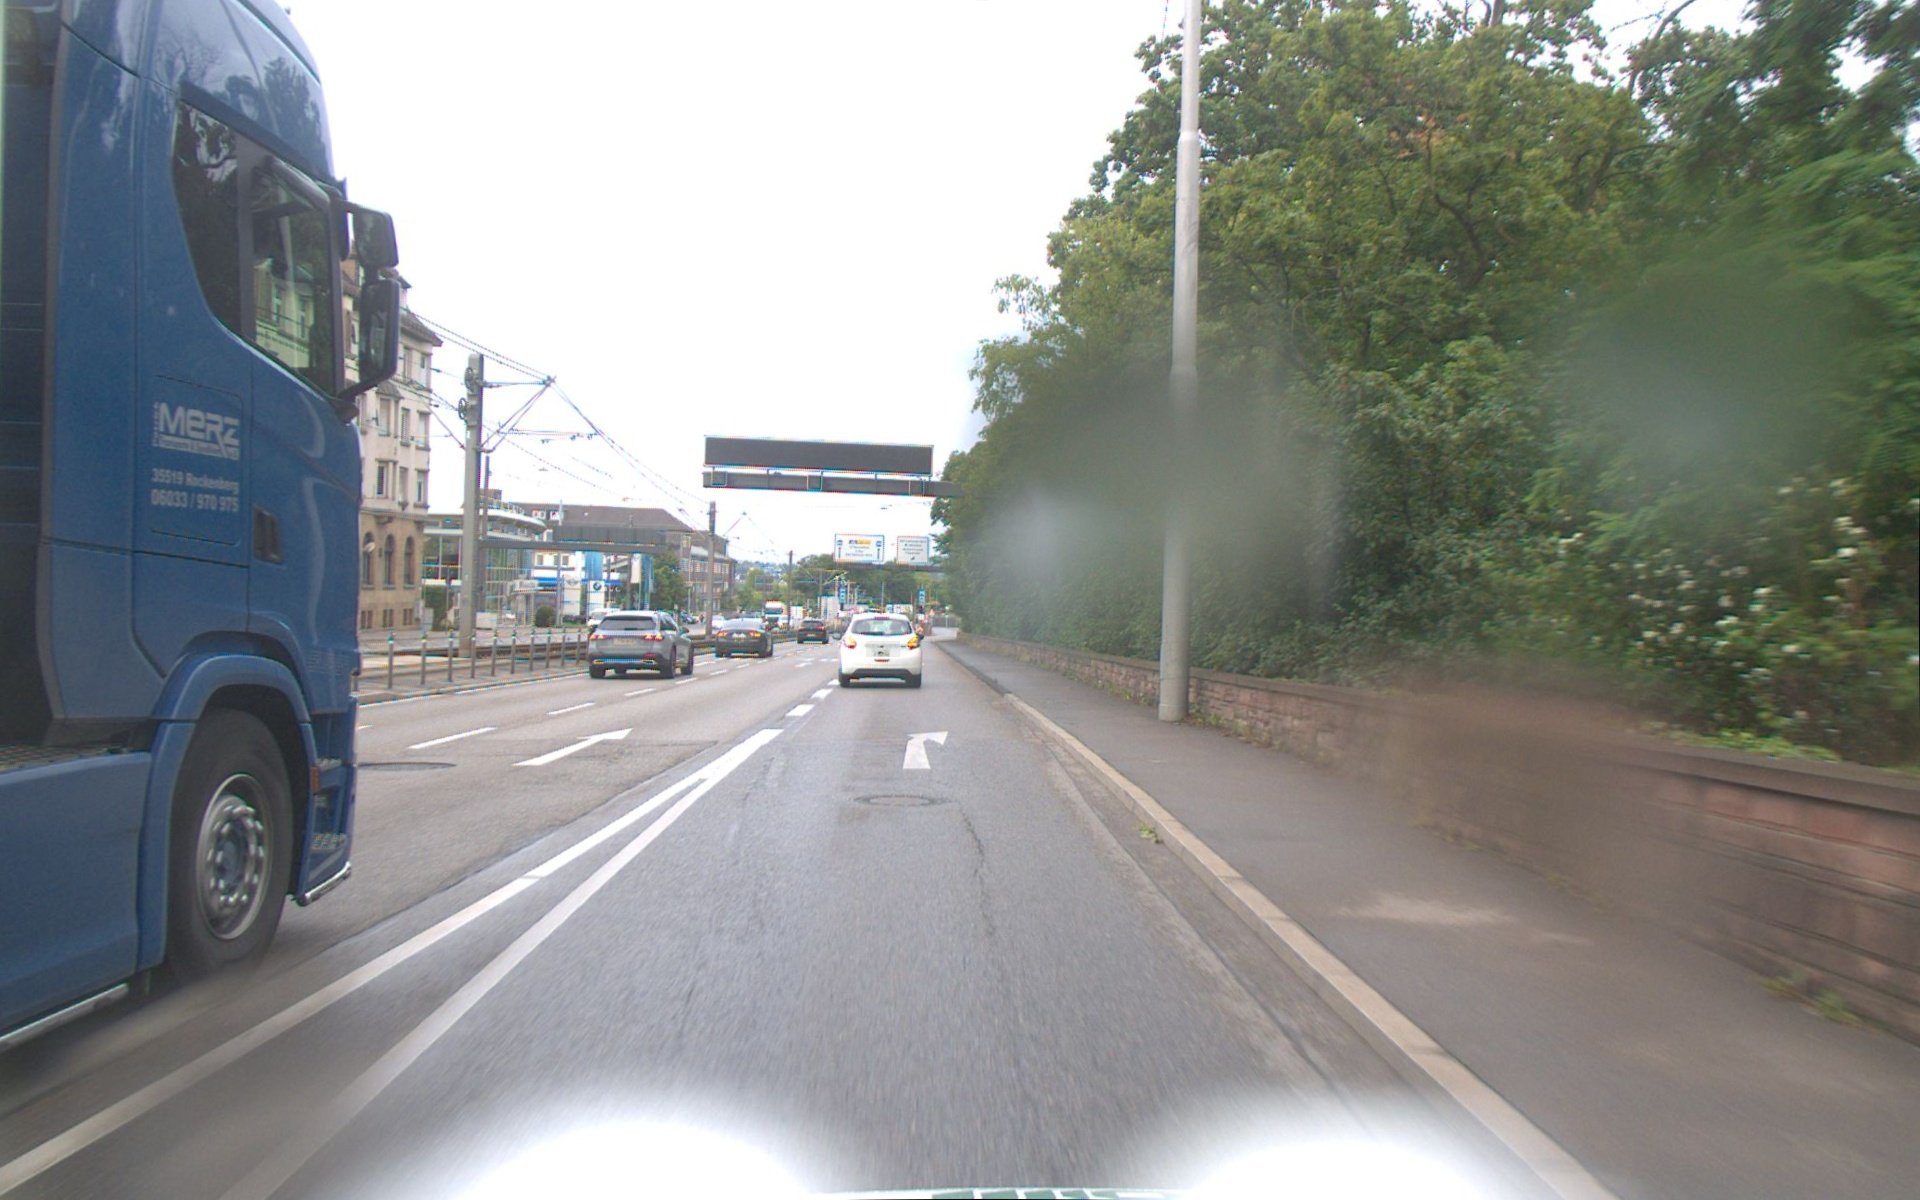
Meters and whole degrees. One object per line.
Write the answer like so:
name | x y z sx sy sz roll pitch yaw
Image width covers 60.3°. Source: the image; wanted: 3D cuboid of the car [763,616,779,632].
car | -28.677 3.679 250.972 1.953 2.049 3.997 2 -4 -2

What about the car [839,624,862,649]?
car | -10.226 3.436 154.694 1.953 2.049 3.997 2 -4 -2

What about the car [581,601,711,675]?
car | -7.105 0.864 37.835 1.782 1.593 4.094 -1 -1 6

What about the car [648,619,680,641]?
car | -24.038 2.440 134.545 1.953 1.691 3.998 2 -2 -2

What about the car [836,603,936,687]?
car | -1.513 0.889 34.673 1.916 1.514 3.999 2 1 -2

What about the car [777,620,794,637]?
car | -23.928 3.889 226.771 1.953 2.049 3.997 2 -4 -2

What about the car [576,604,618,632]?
car | -24.096 1.224 110.024 1.953 1.691 3.998 2 -2 -2

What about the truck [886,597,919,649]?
truck | -6.973 2.901 202.790 3.394 5.496 12.048 2 -4 0

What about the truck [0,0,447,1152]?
truck | -3.809 -0.724 4.228 2.705 4.271 6.785 0 -1 1

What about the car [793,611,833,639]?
car | -8.789 1.507 99.097 1.952 1.603 4.000 0 -1 2

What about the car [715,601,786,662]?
car | -7.495 1.093 59.446 1.685 1.924 3.539 2 3 7
